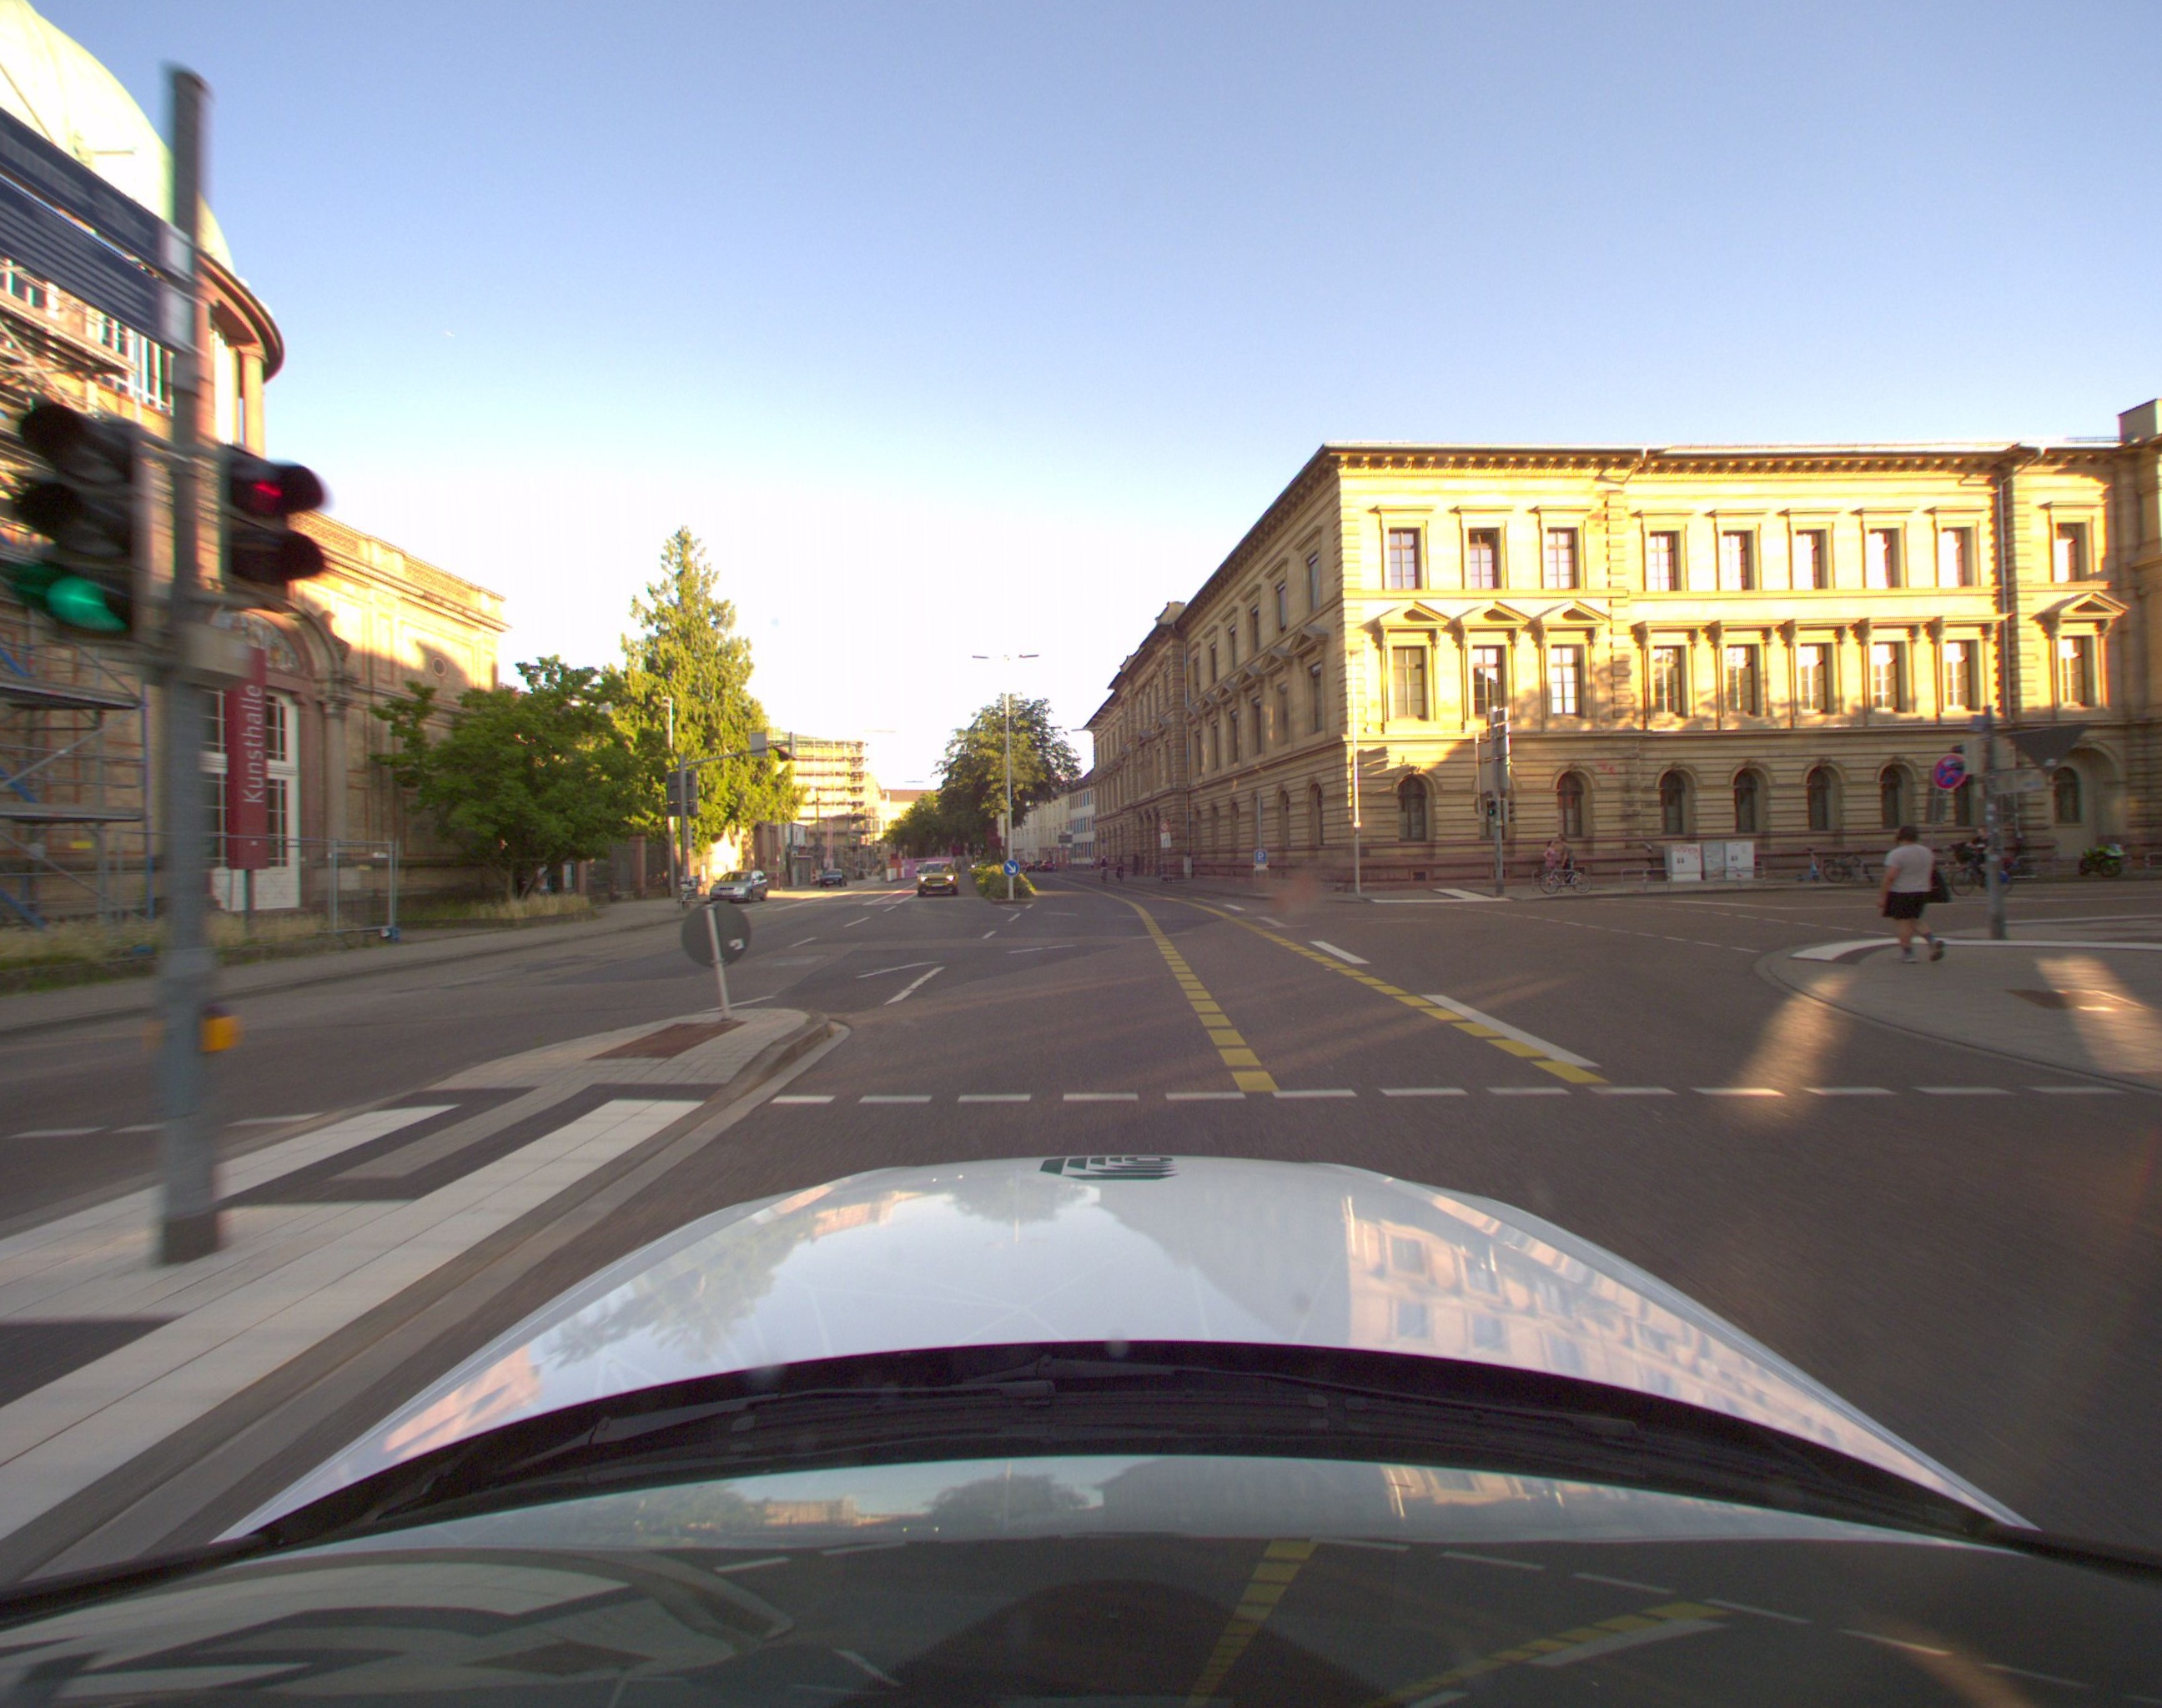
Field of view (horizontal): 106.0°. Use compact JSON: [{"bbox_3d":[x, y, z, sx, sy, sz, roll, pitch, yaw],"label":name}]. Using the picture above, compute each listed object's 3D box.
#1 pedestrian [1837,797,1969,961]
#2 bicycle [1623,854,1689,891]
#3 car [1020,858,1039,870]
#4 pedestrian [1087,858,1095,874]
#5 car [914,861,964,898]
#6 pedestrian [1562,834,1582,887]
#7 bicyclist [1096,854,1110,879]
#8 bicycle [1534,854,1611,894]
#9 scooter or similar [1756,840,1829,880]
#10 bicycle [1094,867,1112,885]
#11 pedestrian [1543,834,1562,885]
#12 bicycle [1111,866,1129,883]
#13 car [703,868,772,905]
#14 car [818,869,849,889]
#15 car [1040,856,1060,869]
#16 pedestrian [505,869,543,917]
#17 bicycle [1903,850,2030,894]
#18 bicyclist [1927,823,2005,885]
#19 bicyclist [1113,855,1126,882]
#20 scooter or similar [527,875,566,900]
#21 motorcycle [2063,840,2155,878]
[{"bbox_3d":[10.633,0.318,10.578,0.779,2.014,0.998,-2,-1,16],"label":"pedestrian"},{"bbox_3d":[18.963,0.609,26.881,1.718,1.144,0.696,-2,2,-1],"label":"bicycle"},{"bbox_3d":[-7.619,1.439,120.652,1.817,1.684,3.975,-1,-1,-18],"label":"car"},{"bbox_3d":[1.142,1.380,92.759,0.815,1.765,1.037,0,0,-3],"label":"pedestrian"},{"bbox_3d":[-6.518,1.116,37.776,1.842,1.547,4.112,-2,0,-4],"label":"car"},{"bbox_3d":[17.746,0.229,29.436,0.529,1.858,0.626,-2,-1,26],"label":"pedestrian"},{"bbox_3d":[1.387,0.814,51.340,0.670,1.566,0.695,1,-1,-14],"label":"bicyclist"},{"bbox_3d":[16.192,0.650,26.867,2.044,1.207,0.862,-2,2,-1],"label":"bicycle"},{"bbox_3d":[25.366,0.212,29.086,0.917,1.327,1.911,-2,0,2],"label":"scooter or similar"},{"bbox_3d":[1.388,1.383,51.316,0.670,1.071,1.891,0,-1,-14],"label":"bicycle"},{"bbox_3d":[17.257,0.211,29.791,0.452,1.858,0.422,-1,-1,-40],"label":"pedestrian"},{"bbox_3d":[2.501,1.301,52.401,0.653,1.071,2.249,1,-1,-12],"label":"bicycle"},{"bbox_3d":[-15.665,1.456,37.334,1.742,1.547,4.359,0,-1,-7],"label":"car"},{"bbox_3d":[-18.869,1.873,62.204,1.680,1.351,3.873,-3,0,-10],"label":"car"},{"bbox_3d":[-4.354,1.229,113.004,1.817,1.682,3.895,-1,-1,-18],"label":"car"},{"bbox_3d":[-18.805,1.296,27.498,0.734,1.579,0.761,-1,0,-5],"label":"pedestrian"},{"bbox_3d":[24.142,0.472,22.233,2.571,1.105,0.975,-2,-1,-5],"label":"bicycle"},{"bbox_3d":[24.128,0.000,22.224,1.040,1.632,0.968,-1,-1,-5],"label":"bicyclist"},{"bbox_3d":[2.468,0.929,52.504,0.650,1.760,0.861,1,-1,-12],"label":"bicyclist"},{"bbox_3d":[-18.081,1.120,27.580,0.677,0.777,1.027,-2,-1,-5],"label":"scooter or similar"},{"bbox_3d":[34.803,0.157,27.618,0.874,1.203,2.326,-2,0,22],"label":"motorcycle"}]
